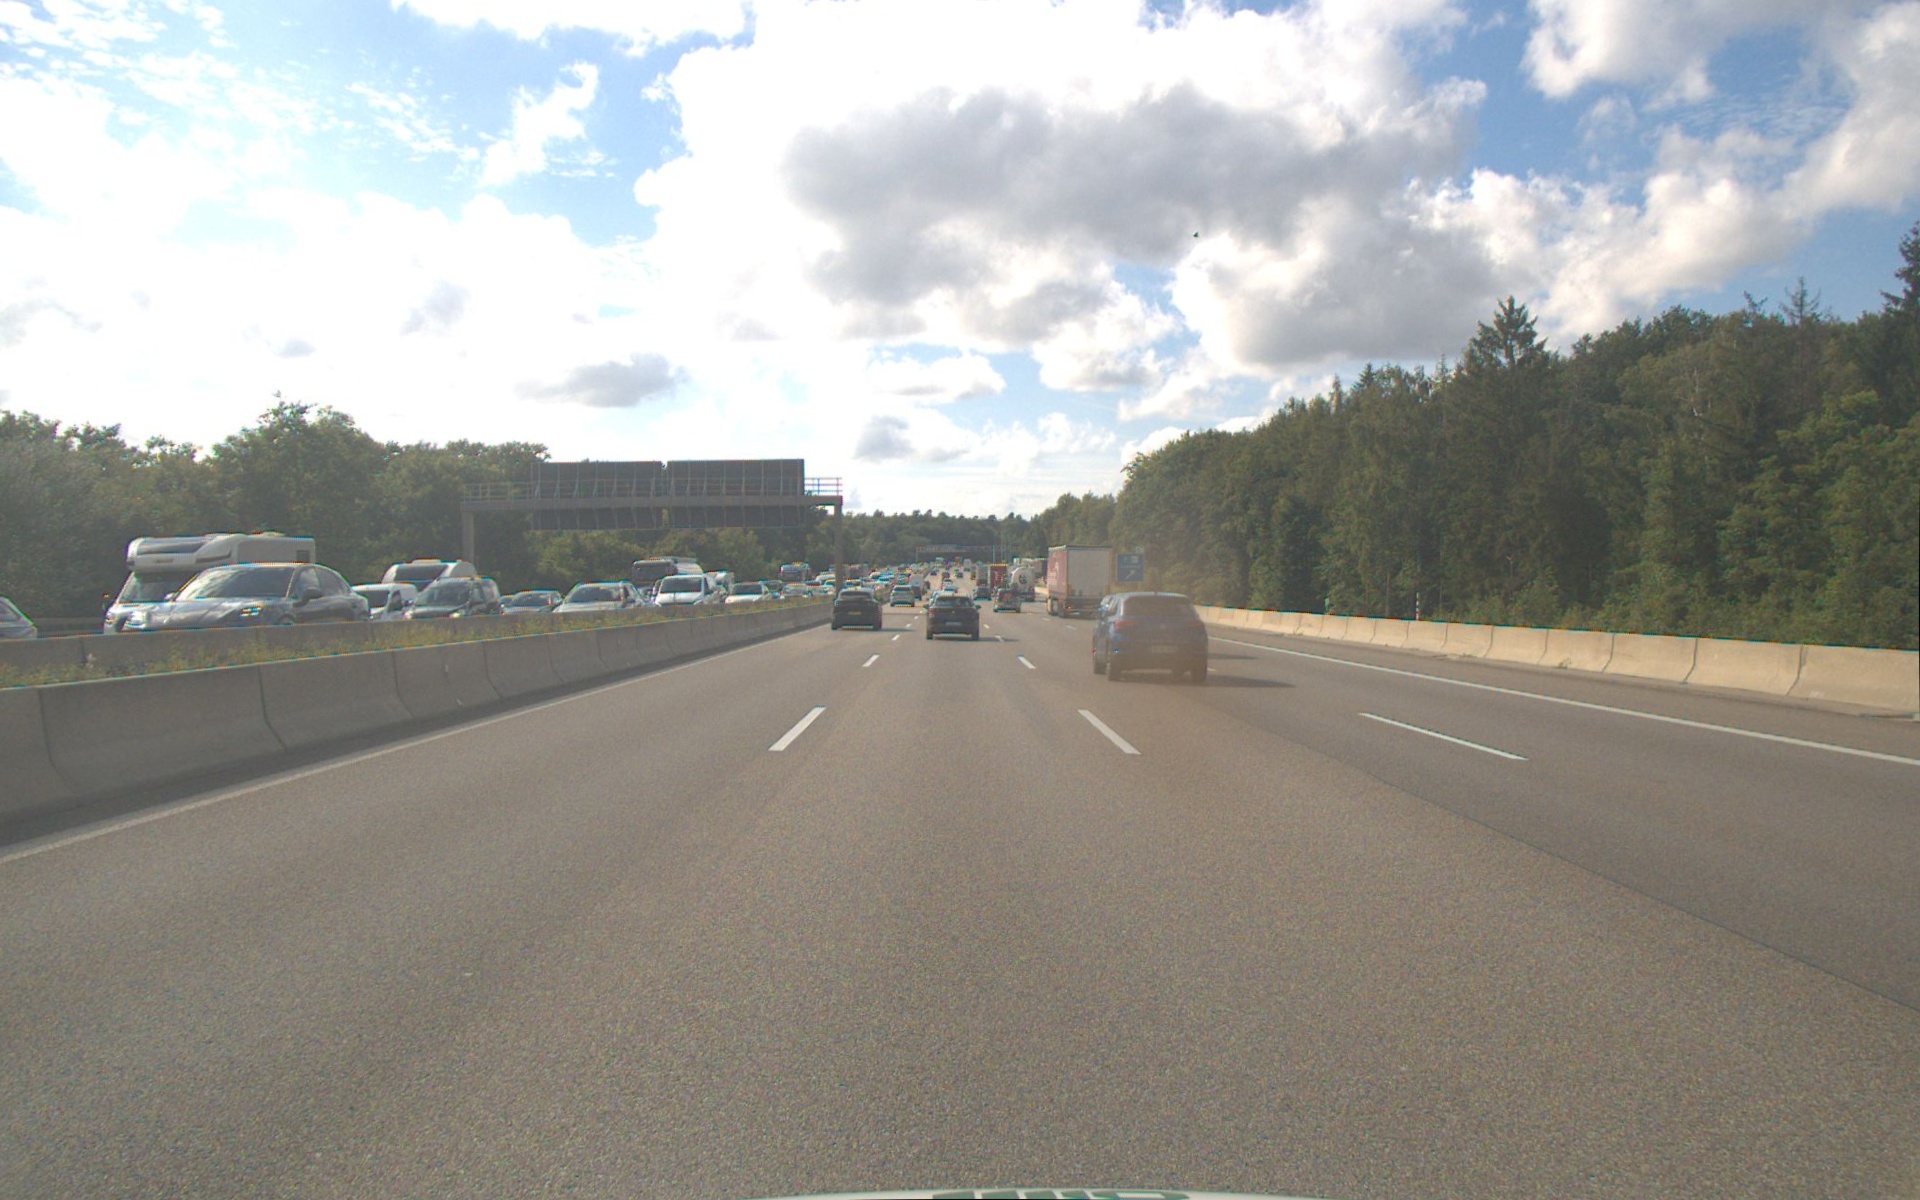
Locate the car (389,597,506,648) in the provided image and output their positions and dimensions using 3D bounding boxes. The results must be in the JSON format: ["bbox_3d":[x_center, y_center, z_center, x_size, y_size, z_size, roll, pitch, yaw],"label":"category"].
[{"bbox_3d":[-13.669,0.562,44.405,1.795,1.252,4.565,1,0,-1],"label":"car"}]

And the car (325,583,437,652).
[{"bbox_3d":[-17.134,0.483,49.157,1.795,1.949,4.481,1,0,-1],"label":"car"}]

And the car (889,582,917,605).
[{"bbox_3d":[-4.499,-0.536,131.531,2.111,1.807,4.000,1,0,0],"label":"car"}]

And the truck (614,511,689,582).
[{"bbox_3d":[-18.384,-3.133,99.010,3.347,3.968,6.800,0,0,-2],"label":"truck"}]

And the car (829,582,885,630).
[{"bbox_3d":[-3.997,0.206,64.623,1.953,1.807,4.000,0,0,0],"label":"car"}]

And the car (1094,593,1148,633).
[{"bbox_3d":[6.460,0.502,66.777,1.680,1.537,4.301,0,0,-1],"label":"car"}]

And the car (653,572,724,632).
[{"bbox_3d":[-9.957,0.048,61.108,1.795,2.098,5.499,-1,0,-1],"label":"car"}]

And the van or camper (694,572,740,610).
[{"bbox_3d":[-18.024,-0.632,122.983,2.277,2.689,7.396,1,0,0],"label":"van or camper"}]

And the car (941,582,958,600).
[{"bbox_3d":[-1.221,-1.013,191.715,1.953,2.049,3.999,-1,0,-1],"label":"car"}]

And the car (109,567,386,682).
[{"bbox_3d":[-9.684,0.293,22.957,1.795,1.412,4.902,0,0,-1],"label":"car"}]

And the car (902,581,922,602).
[{"bbox_3d":[-4.933,-0.826,169.272,1.953,2.049,3.999,1,0,-1],"label":"car"}]

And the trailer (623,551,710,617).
[{"bbox_3d":[-18.518,-1.025,105.442,3.342,3.895,13.259,1,1,-1],"label":"trailer"}]

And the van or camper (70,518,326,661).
[{"bbox_3d":[-17.289,-0.150,38.181,2.419,2.940,7.480,1,-1,0],"label":"van or camper"}]

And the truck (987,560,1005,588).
[{"bbox_3d":[5.025,-3.607,230.089,2.309,3.635,11.266,1,0,1],"label":"truck"}]

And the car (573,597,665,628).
[{"bbox_3d":[-9.050,0.309,44.160,1.614,0.737,4.446,1,0,-1],"label":"car"}]

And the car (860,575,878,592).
[{"bbox_3d":[-10.729,-1.938,195.781,1.953,2.049,4.409,0,0,0],"label":"car"}]

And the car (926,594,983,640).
[{"bbox_3d":[-0.219,0.514,53.937,1.699,1.389,3.999,1,0,-2],"label":"car"}]

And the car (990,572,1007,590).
[{"bbox_3d":[4.731,-2.340,205.503,1.953,2.049,3.999,1,0,-1],"label":"car"}]

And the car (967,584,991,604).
[{"bbox_3d":[1.985,-0.648,175.807,1.956,2.049,3.993,1,0,-8],"label":"car"}]

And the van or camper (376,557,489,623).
[{"bbox_3d":[-17.486,-0.341,55.093,2.237,2.046,4.688,1,0,0],"label":"van or camper"}]

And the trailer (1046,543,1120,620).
[{"bbox_3d":[6.996,-0.942,96.121,2.976,4.106,13.887,1,0,-1],"label":"trailer"}]

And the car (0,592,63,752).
[{"bbox_3d":[-13.516,0.952,20.978,1.795,2.096,4.635,1,0,-1],"label":"car"}]

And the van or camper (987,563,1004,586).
[{"bbox_3d":[5.107,-3.681,237.372,2.303,3.199,5.710,1,0,0],"label":"van or camper"}]

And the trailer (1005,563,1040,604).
[{"bbox_3d":[6.501,-1.665,172.908,2.974,4.086,12.242,0,0,-1],"label":"trailer"}]

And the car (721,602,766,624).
[{"bbox_3d":[-10.153,0.599,77.784,1.610,0.956,4.487,1,0,-1],"label":"car"}]

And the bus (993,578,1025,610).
[{"bbox_3d":[3.261,-0.379,111.145,1.953,2.049,3.999,1,0,0],"label":"bus"}]

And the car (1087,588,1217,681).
[{"bbox_3d":[3.454,0.613,30.490,1.884,1.568,4.645,0,-1,0],"label":"car"}]

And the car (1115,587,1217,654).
[{"bbox_3d":[5.236,0.519,42.769,1.953,1.602,5.277,1,0,0],"label":"car"}]

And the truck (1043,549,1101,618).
[{"bbox_3d":[6.911,-0.997,102.893,3.017,4.134,6.068,1,0,-1],"label":"truck"}]

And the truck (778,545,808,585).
[{"bbox_3d":[-18.721,-3.919,185.964,2.795,4.308,5.712,1,1,-1],"label":"truck"}]

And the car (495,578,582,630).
[{"bbox_3d":[-13.610,0.108,53.654,1.795,1.564,4.242,1,0,-1],"label":"car"}]
